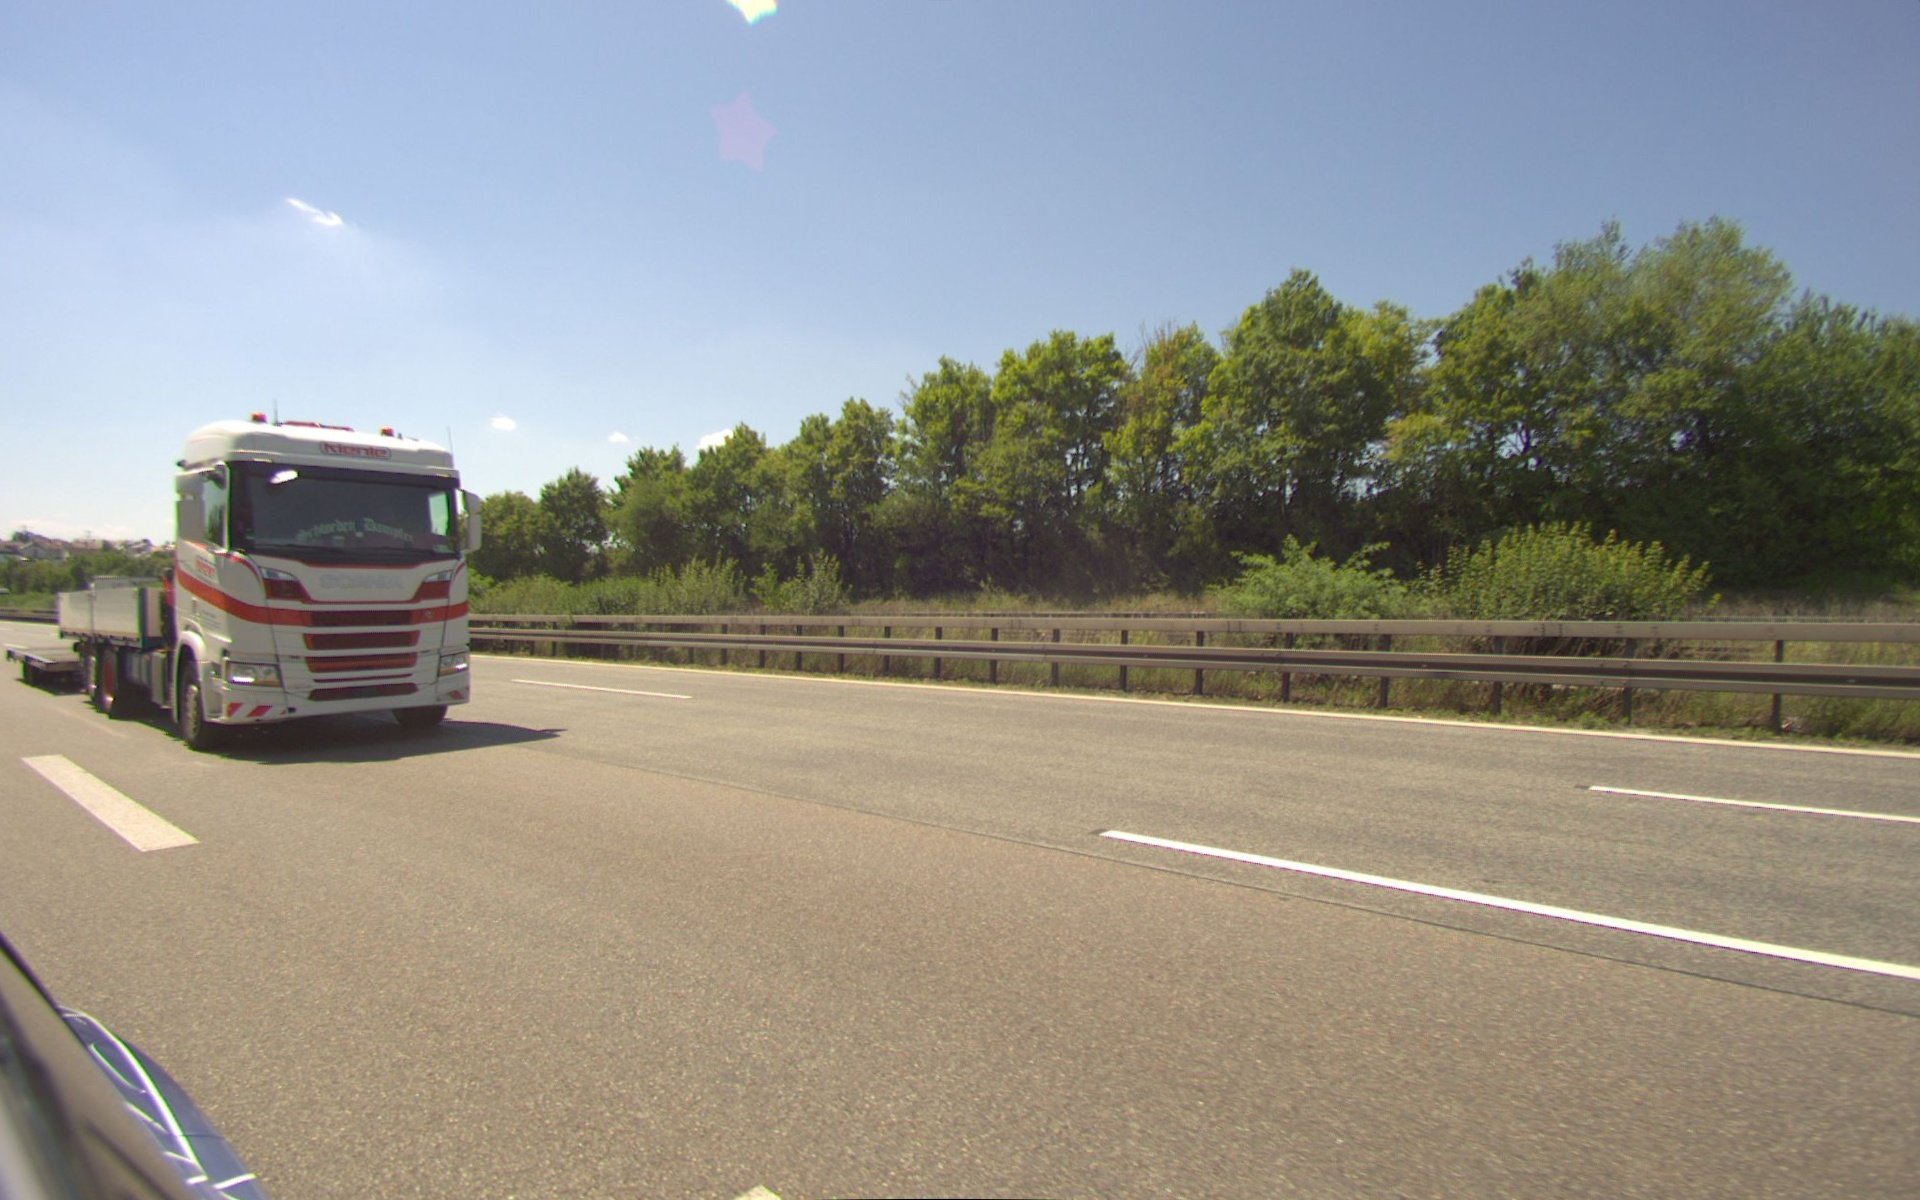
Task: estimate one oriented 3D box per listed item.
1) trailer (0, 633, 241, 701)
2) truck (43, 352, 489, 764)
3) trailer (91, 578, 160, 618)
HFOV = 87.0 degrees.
[{"bbox_3d":[-16.941,1.208,20.155,7.758,0.941,2.686,-1,0,42],"label":"trailer"},{"bbox_3d":[-10.171,-0.344,14.008,10.669,3.831,2.685,-1,0,42],"label":"truck"},{"bbox_3d":[-90.981,-0.210,110.215,13.915,4.120,3.358,0,0,40],"label":"trailer"}]
